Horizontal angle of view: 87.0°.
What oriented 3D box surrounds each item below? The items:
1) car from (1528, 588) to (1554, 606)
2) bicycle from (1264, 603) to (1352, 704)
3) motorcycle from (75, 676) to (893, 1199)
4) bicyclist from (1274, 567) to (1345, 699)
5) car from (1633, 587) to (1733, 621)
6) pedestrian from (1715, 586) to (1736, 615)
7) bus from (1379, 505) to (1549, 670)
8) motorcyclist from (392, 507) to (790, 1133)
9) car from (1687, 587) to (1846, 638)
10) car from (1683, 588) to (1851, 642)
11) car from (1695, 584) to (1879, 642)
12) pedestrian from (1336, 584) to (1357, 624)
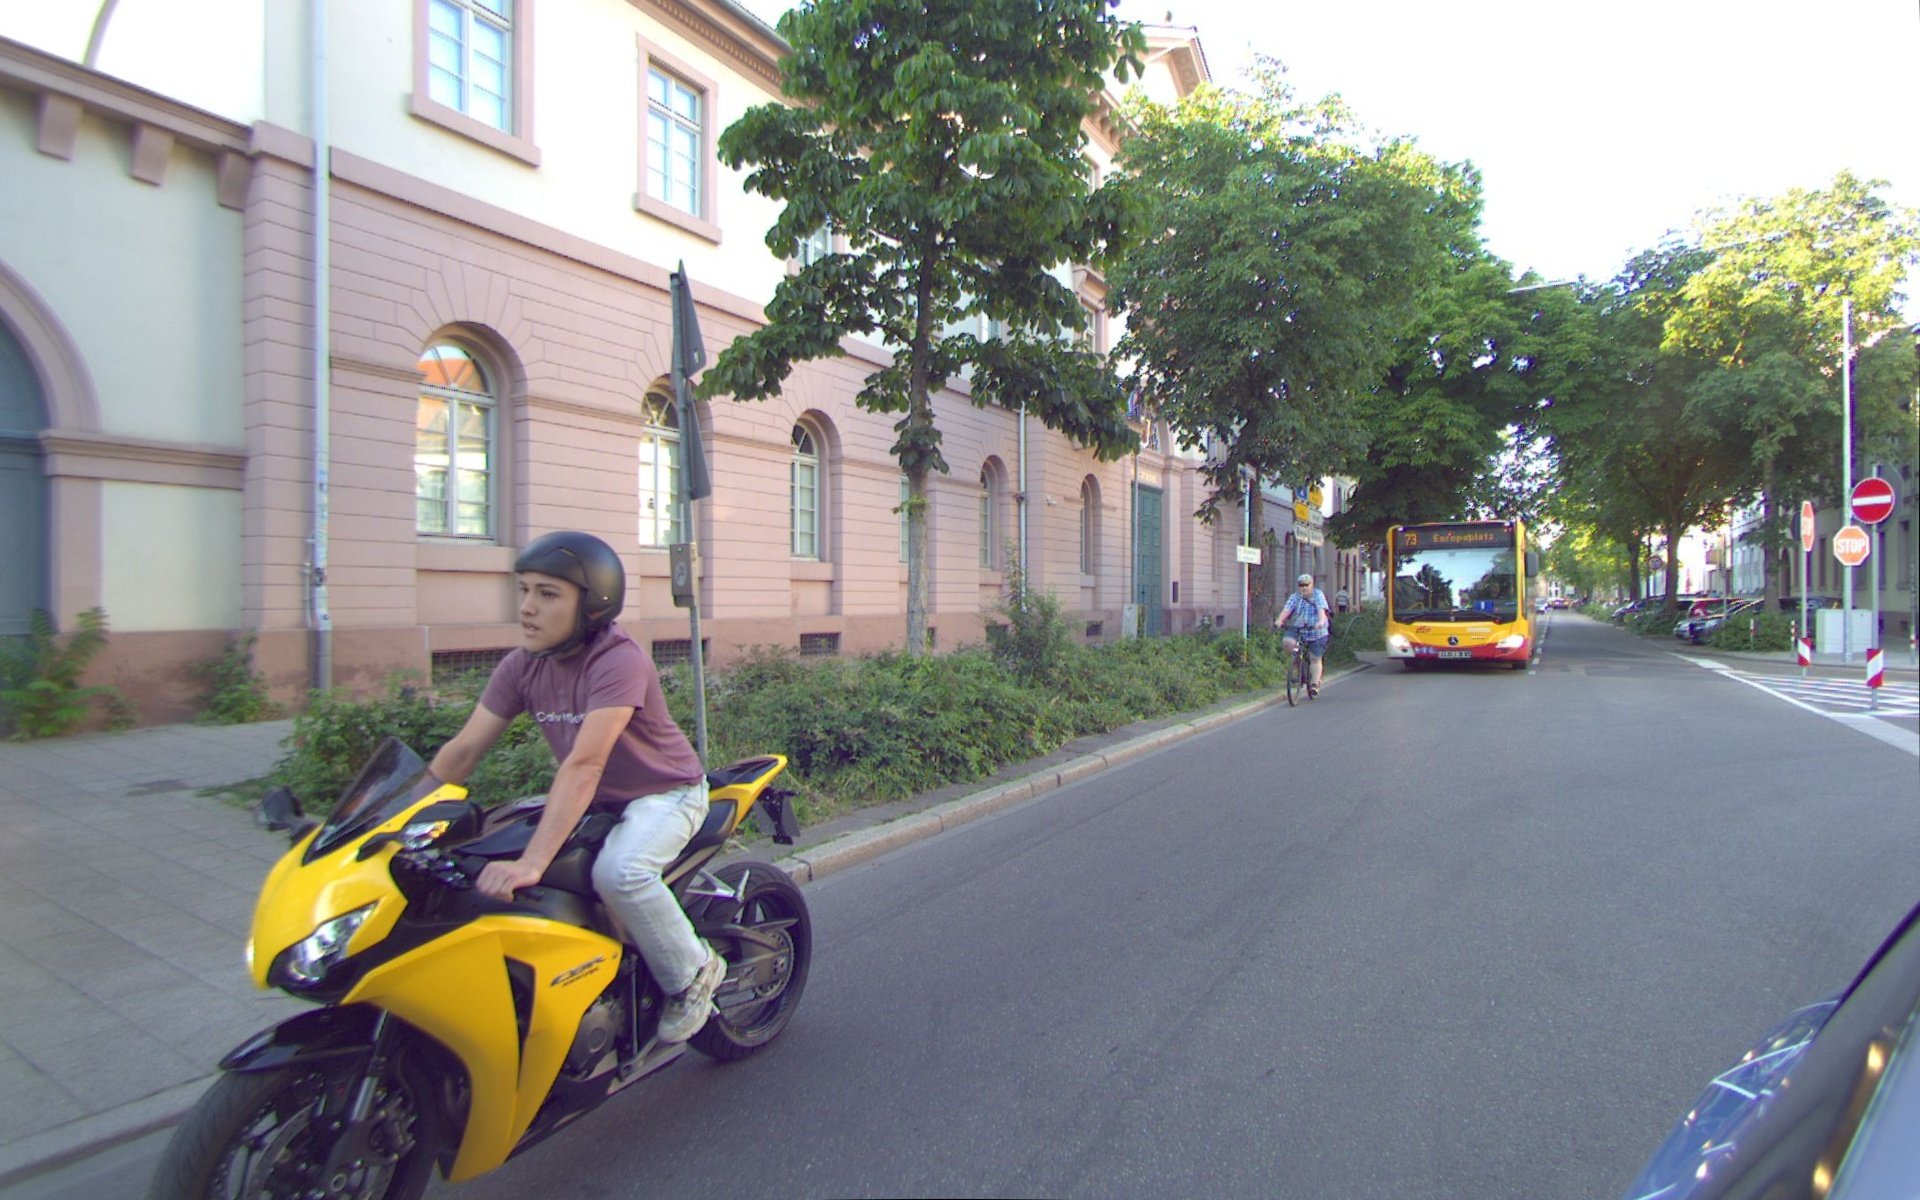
[{"bbox_3d":[56.929,-0.284,99.135,2.067,1.719,3.954,0,0,32],"label":"car"},{"bbox_3d":[5.111,0.735,14.769,0.777,1.347,2.055,-2,-1,31],"label":"bicycle"},{"bbox_3d":[-1.034,0.874,2.770,0.786,1.175,1.948,-2,-1,28],"label":"motorcycle"},{"bbox_3d":[5.101,0.470,14.772,0.777,1.863,0.817,-2,-1,31],"label":"bicyclist"},{"bbox_3d":[36.712,0.190,51.506,3.966,1.635,1.705,0,0,30],"label":"car"},{"bbox_3d":[47.045,0.023,62.211,0.887,1.793,1.010,0,0,30],"label":"pedestrian"},{"bbox_3d":[12.551,-0.228,24.453,2.691,3.039,11.948,-2,-1,31],"label":"bus"},{"bbox_3d":[-1.011,0.510,2.829,0.786,1.438,0.692,-2,-1,28],"label":"motorcyclist"},{"bbox_3d":[27.093,0.393,34.181,3.966,1.635,1.705,0,0,30],"label":"car"},{"bbox_3d":[25.598,0.434,32.282,3.966,1.635,1.705,0,0,30],"label":"car"},{"bbox_3d":[24.489,0.335,30.177,3.966,1.635,1.809,0,0,30],"label":"car"},{"bbox_3d":[17.973,0.167,47.038,0.794,1.855,0.920,0,0,29],"label":"pedestrian"}]
